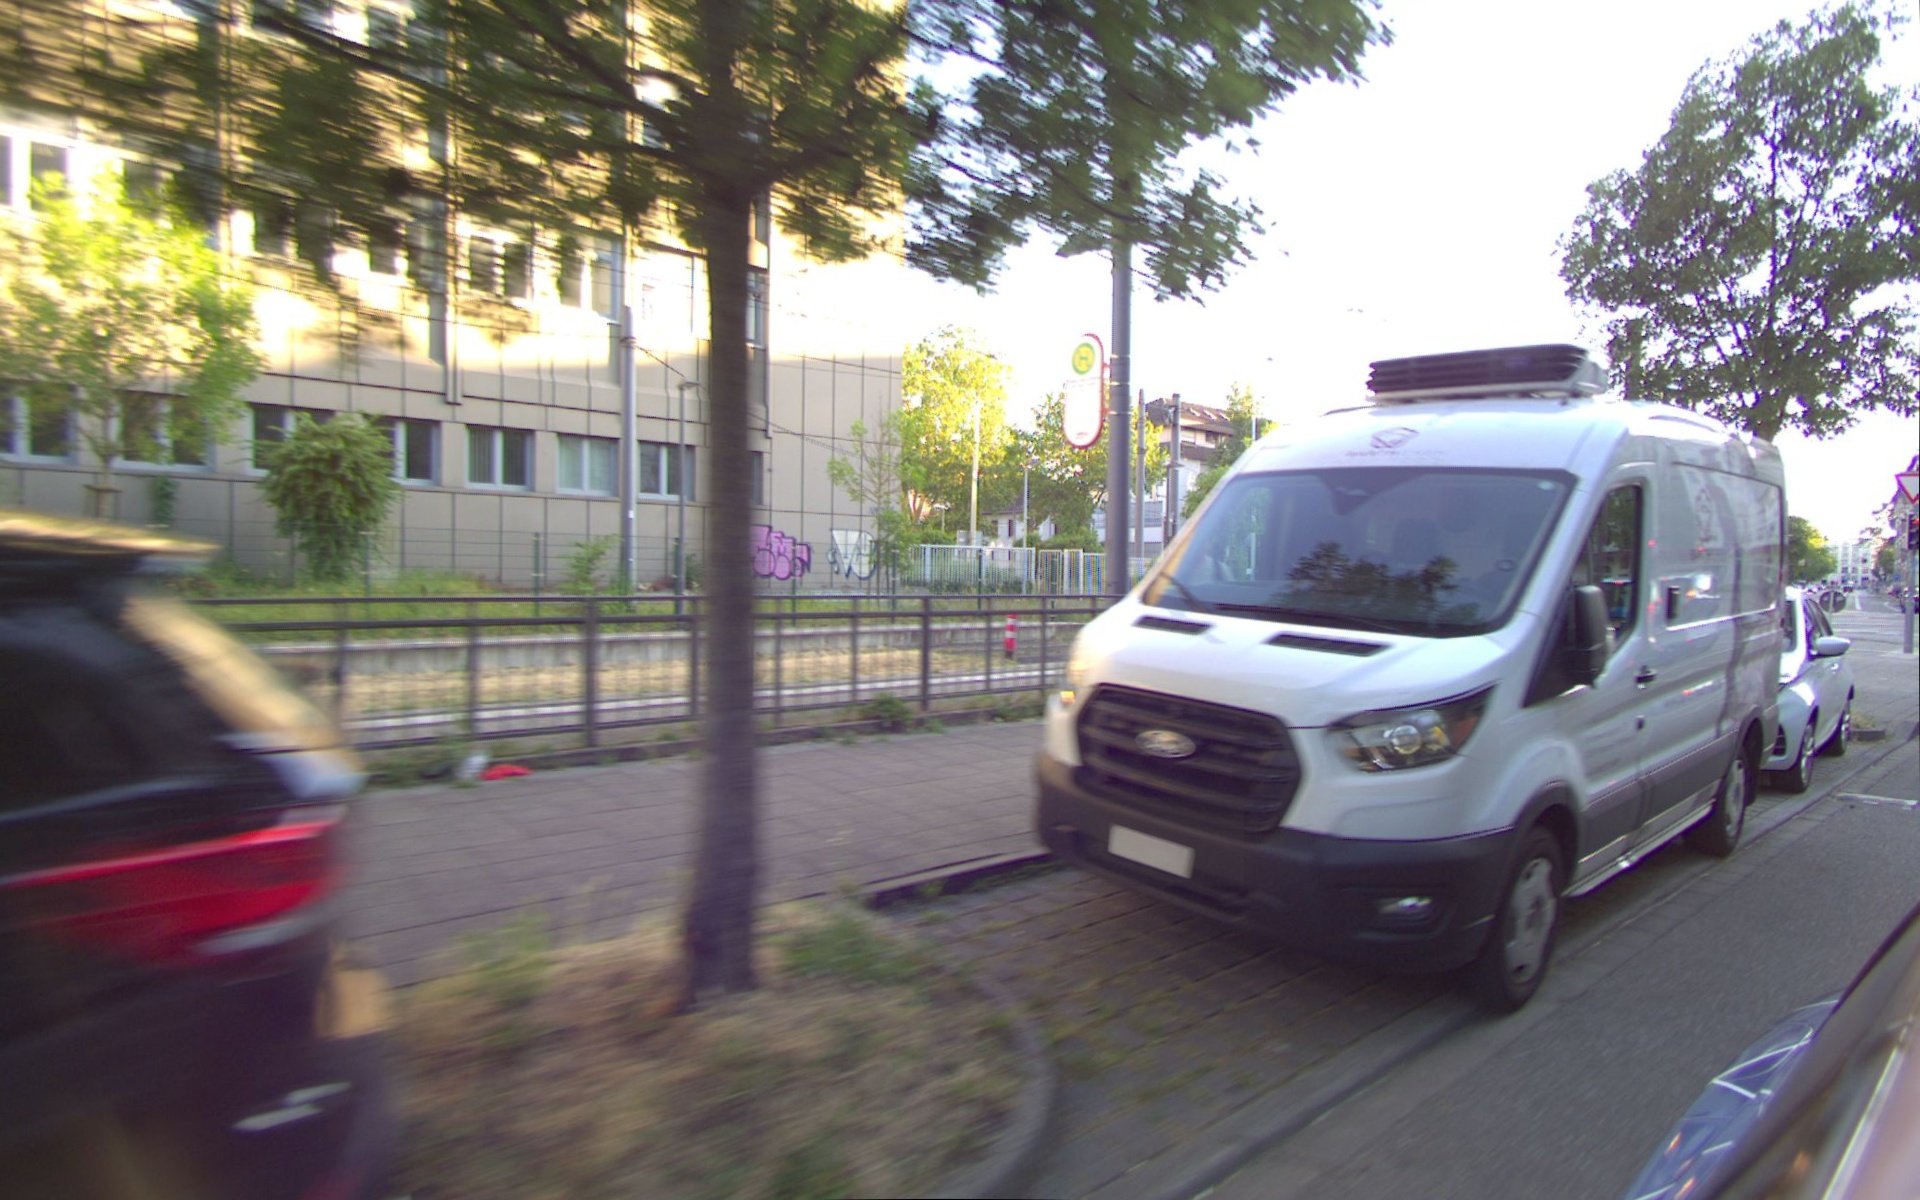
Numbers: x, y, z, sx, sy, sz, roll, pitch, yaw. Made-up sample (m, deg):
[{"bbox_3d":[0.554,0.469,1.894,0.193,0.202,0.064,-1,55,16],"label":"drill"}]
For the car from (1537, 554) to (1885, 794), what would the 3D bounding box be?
[{"bbox_3d":[6.866,0.470,9.094,3.946,1.602,1.751,-1,5,-43],"label":"car"}]

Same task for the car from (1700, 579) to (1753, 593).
[{"bbox_3d":[85.985,-1.566,113.578,4.682,1.504,1.881,2,2,39],"label":"car"}]

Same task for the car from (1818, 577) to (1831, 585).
[{"bbox_3d":[160.415,-3.541,187.837,1.780,1.475,4.233,2,2,41],"label":"car"}]

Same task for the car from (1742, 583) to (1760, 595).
[{"bbox_3d":[102.275,-1.491,130.872,1.778,1.475,4.238,2,2,38],"label":"car"}]

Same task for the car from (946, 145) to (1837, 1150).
[{"bbox_3d":[2.660,0.051,5.256,5.341,2.688,2.055,-1,5,-42],"label":"car"}]

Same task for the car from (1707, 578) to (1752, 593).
[{"bbox_3d":[81.376,-1.547,107.059,3.755,1.504,1.881,2,2,39],"label":"car"}]

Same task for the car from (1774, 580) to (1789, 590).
[{"bbox_3d":[133.003,-2.457,163.923,1.778,1.453,4.238,2,2,38],"label":"car"}]

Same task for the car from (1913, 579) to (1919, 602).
[{"bbox_3d":[64.041,-0.637,66.683,1.781,1.475,4.229,2,2,44],"label":"car"}]

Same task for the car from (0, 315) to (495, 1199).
[{"bbox_3d":[-2.807,0.490,0.726,4.193,1.663,1.711,-1,4,-41],"label":"car"}]

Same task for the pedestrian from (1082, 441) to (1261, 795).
[{"bbox_3d":[1.269,0.088,6.266,0.962,2.038,0.807,1,1,5],"label":"pedestrian"}]
